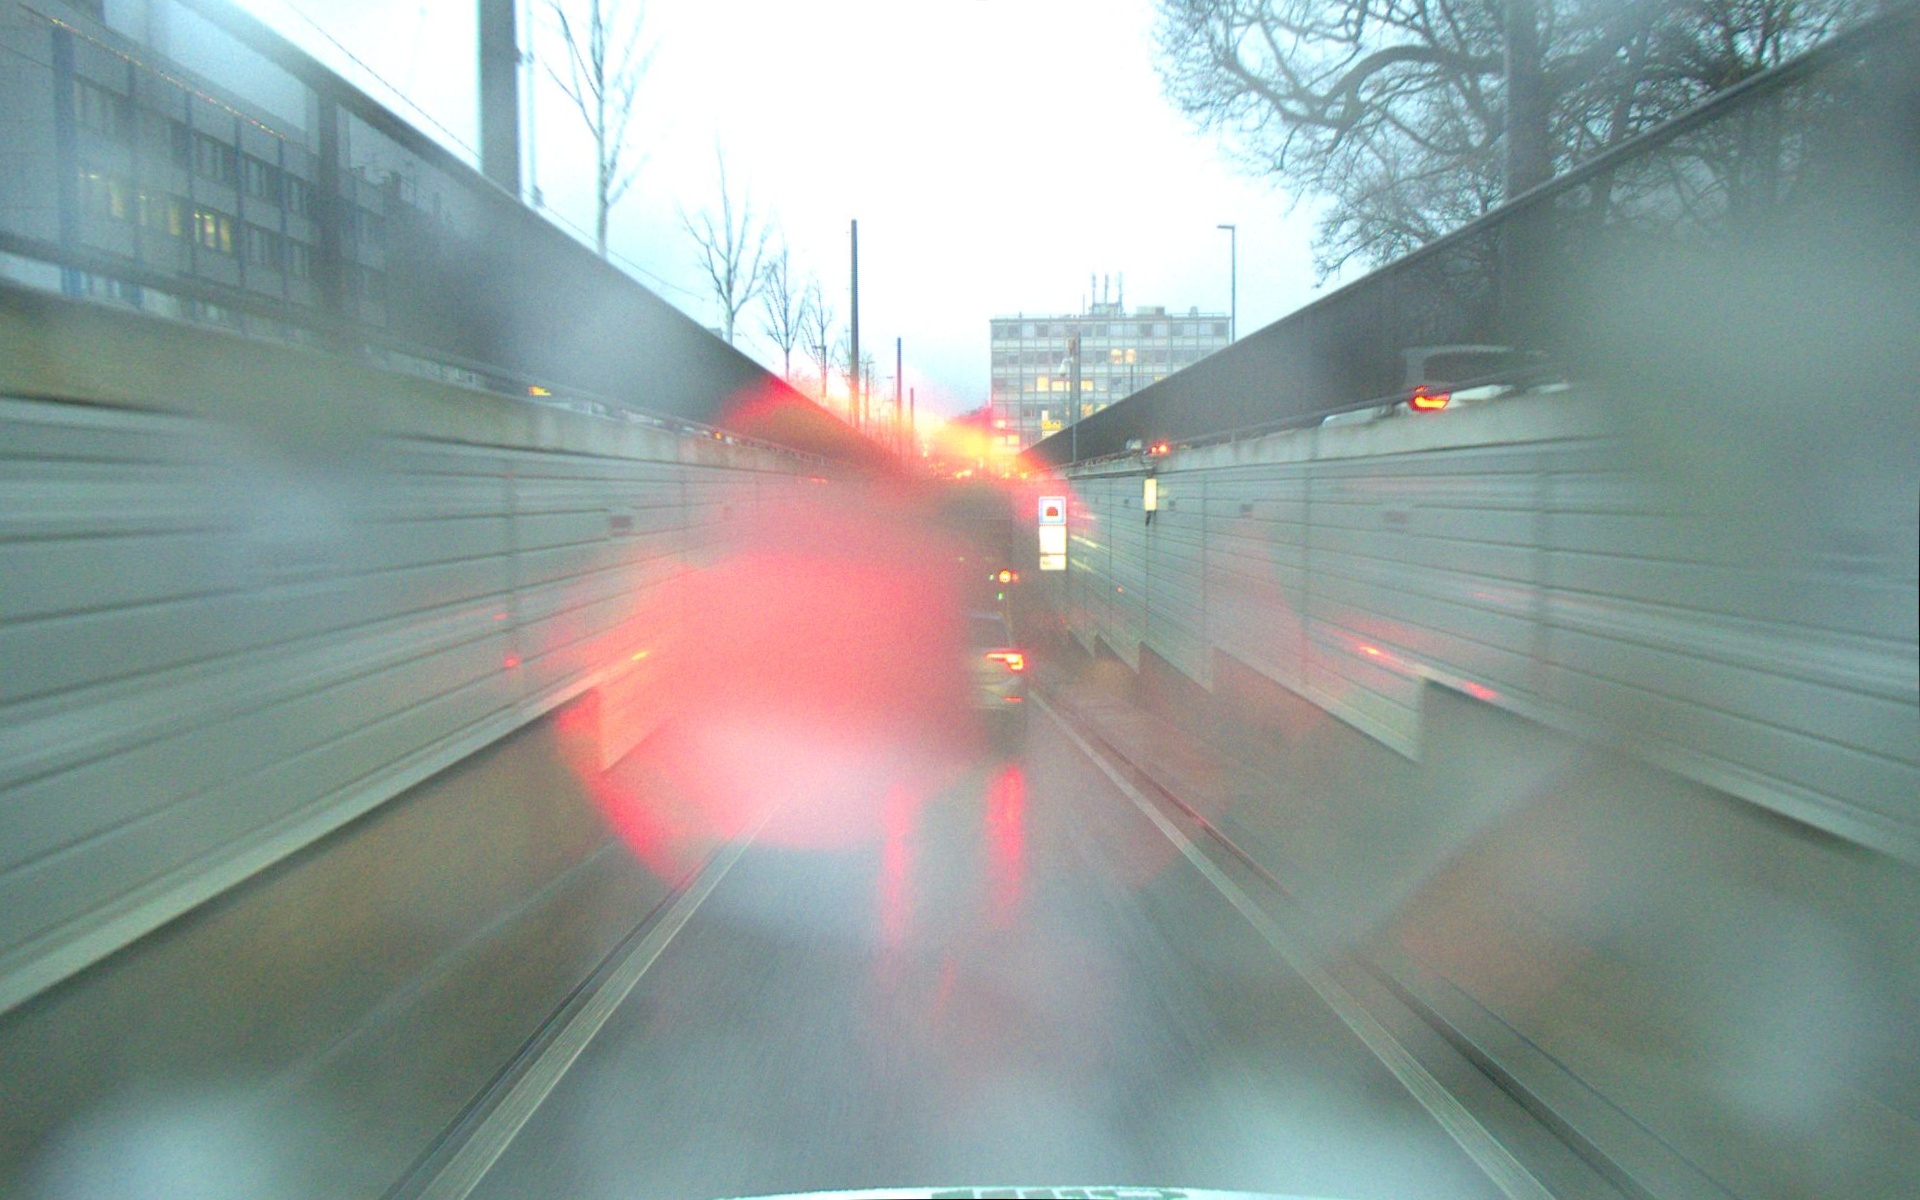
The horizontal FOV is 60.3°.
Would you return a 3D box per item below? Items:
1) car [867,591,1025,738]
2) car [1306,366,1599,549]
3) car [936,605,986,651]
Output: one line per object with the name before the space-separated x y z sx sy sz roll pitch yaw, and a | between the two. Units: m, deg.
car | -0.111 0.692 20.057 1.687 1.505 4.001 2 1 1
car | 4.603 -1.317 16.060 1.687 1.504 4.002 2 3 1
car | 0.005 1.085 66.147 1.881 1.511 4.000 2 3 -2
